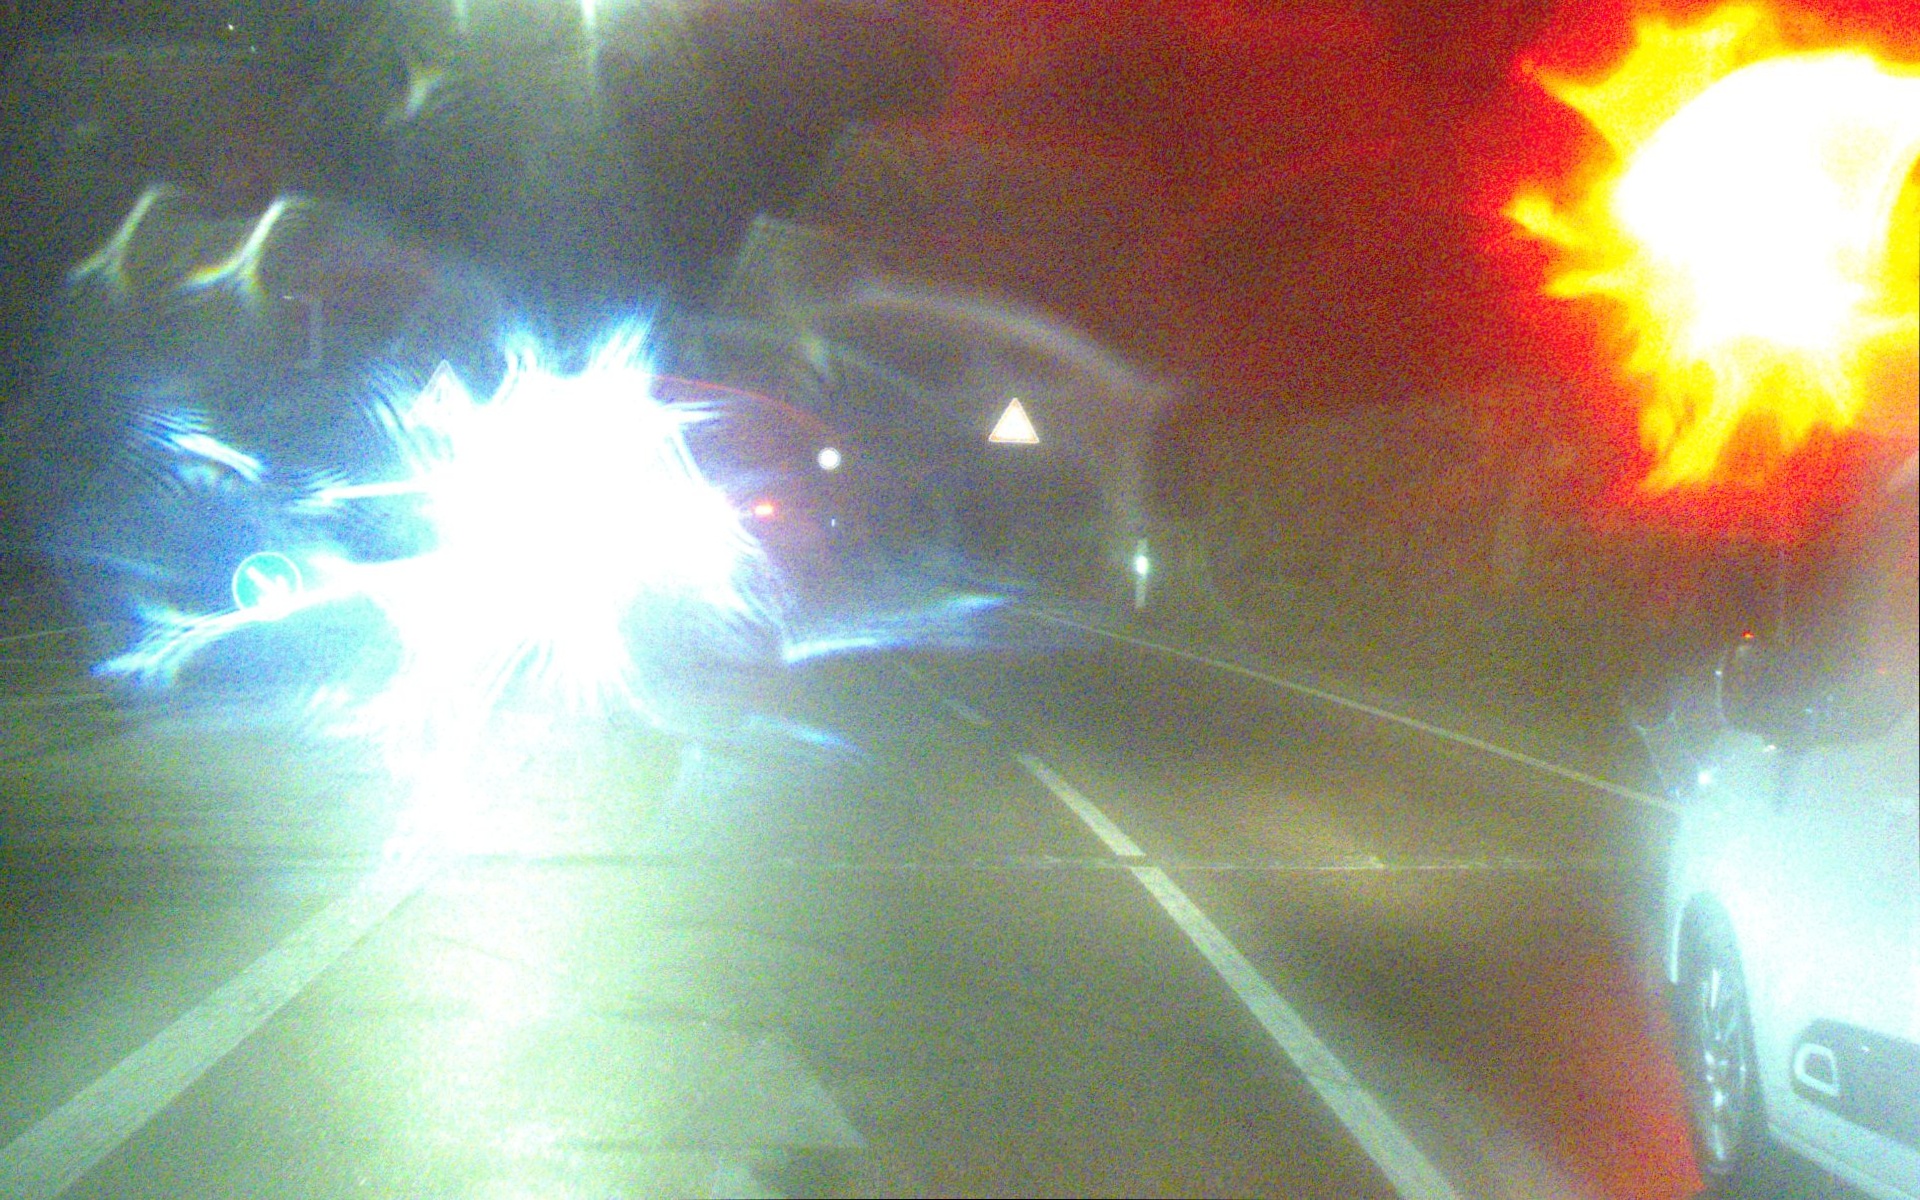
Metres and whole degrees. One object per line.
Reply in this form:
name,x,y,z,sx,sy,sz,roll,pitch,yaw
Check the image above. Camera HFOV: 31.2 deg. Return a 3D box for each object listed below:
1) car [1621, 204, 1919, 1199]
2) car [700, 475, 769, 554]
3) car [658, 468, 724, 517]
car,2.560,0.320,6.224,1.791,2.015,4.580,1,1,0
car,-6.012,-2.267,91.519,1.791,2.015,4.580,1,1,-4
car,-10.820,-4.311,138.279,1.994,1.711,3.999,4,0,3
